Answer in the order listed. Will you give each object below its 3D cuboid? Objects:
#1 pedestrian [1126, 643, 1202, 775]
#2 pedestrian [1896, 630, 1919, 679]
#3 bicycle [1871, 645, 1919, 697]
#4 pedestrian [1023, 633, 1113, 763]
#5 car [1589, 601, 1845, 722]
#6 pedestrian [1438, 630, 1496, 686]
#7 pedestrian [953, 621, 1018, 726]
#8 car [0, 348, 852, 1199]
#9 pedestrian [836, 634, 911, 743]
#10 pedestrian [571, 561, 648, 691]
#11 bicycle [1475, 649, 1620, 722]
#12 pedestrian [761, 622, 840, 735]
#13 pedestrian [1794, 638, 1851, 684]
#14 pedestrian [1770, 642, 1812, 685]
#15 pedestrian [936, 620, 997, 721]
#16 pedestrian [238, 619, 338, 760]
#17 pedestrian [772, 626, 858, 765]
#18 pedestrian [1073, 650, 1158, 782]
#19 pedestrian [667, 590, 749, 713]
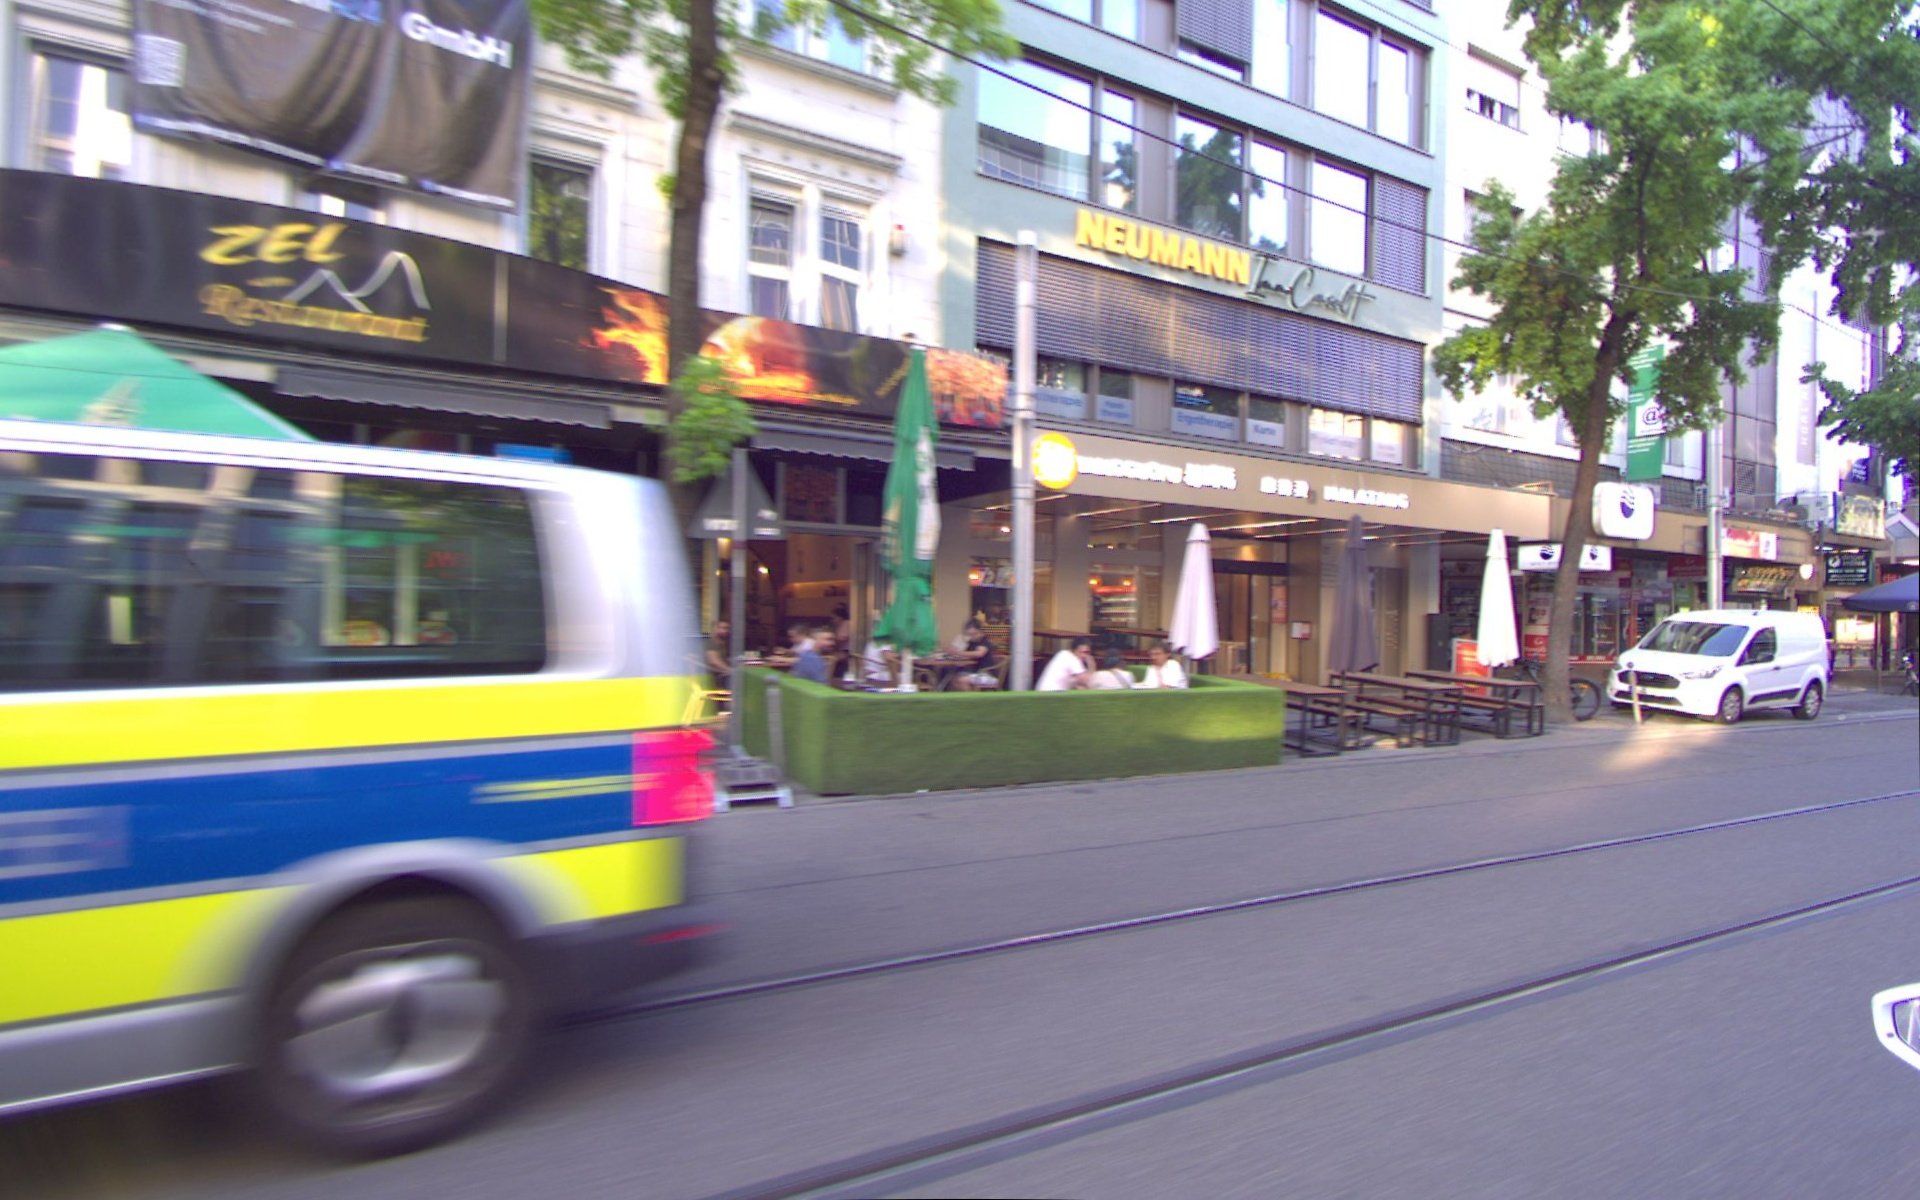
[{"bbox_3d":[2.266,1.193,11.191,0.558,1.396,0.577,2,-1,-28],"label":"pedestrian"},{"bbox_3d":[25.536,1.462,26.795,0.553,1.273,0.601,2,2,-27],"label":"pedestrian"},{"bbox_3d":[22.485,1.669,23.973,0.800,1.118,2.159,1,0,34],"label":"bicycle"},{"bbox_3d":[1.196,1.068,11.128,0.722,1.363,0.641,2,-1,-28],"label":"pedestrian"},{"bbox_3d":[13.228,1.059,17.523,4.459,1.842,1.787,3,0,-28],"label":"car"},{"bbox_3d":[10.740,1.224,21.288,0.720,1.109,0.774,2,2,-29],"label":"pedestrian"},{"bbox_3d":[0.344,0.999,13.876,0.640,1.396,0.602,2,-1,-28],"label":"pedestrian"},{"bbox_3d":[-2.913,0.450,2.833,4.792,2.003,1.984,2,-1,-30],"label":"car"},{"bbox_3d":[-1.170,1.175,13.519,0.756,1.396,0.687,2,-1,-28],"label":"pedestrian"},{"bbox_3d":[-5.000,0.361,14.333,0.647,1.789,0.761,2,-1,43],"label":"pedestrian"},{"bbox_3d":[9.496,1.372,16.275,1.979,1.082,0.613,1,-1,0],"label":"bicycle"},{"bbox_3d":[-2.003,0.965,12.586,0.756,1.348,0.651,2,-1,-29],"label":"pedestrian"},{"bbox_3d":[23.017,1.622,26.812,0.766,1.135,0.820,2,2,-19],"label":"pedestrian"},{"bbox_3d":[21.840,1.661,26.404,0.649,1.043,0.454,3,2,1],"label":"pedestrian"},{"bbox_3d":[0.092,1.010,14.519,0.671,1.396,0.535,2,-1,-29],"label":"pedestrian"},{"bbox_3d":[-7.012,0.914,10.517,0.756,1.396,0.651,2,-1,-29],"label":"pedestrian"},{"bbox_3d":[-1.426,0.914,9.848,0.593,1.281,0.705,2,-1,-28],"label":"pedestrian"},{"bbox_3d":[1.602,1.175,10.368,0.633,1.283,0.549,2,-1,-28],"label":"pedestrian"},{"bbox_3d":[-2.993,0.602,11.920,0.756,1.396,0.651,2,-1,-29],"label":"pedestrian"}]
